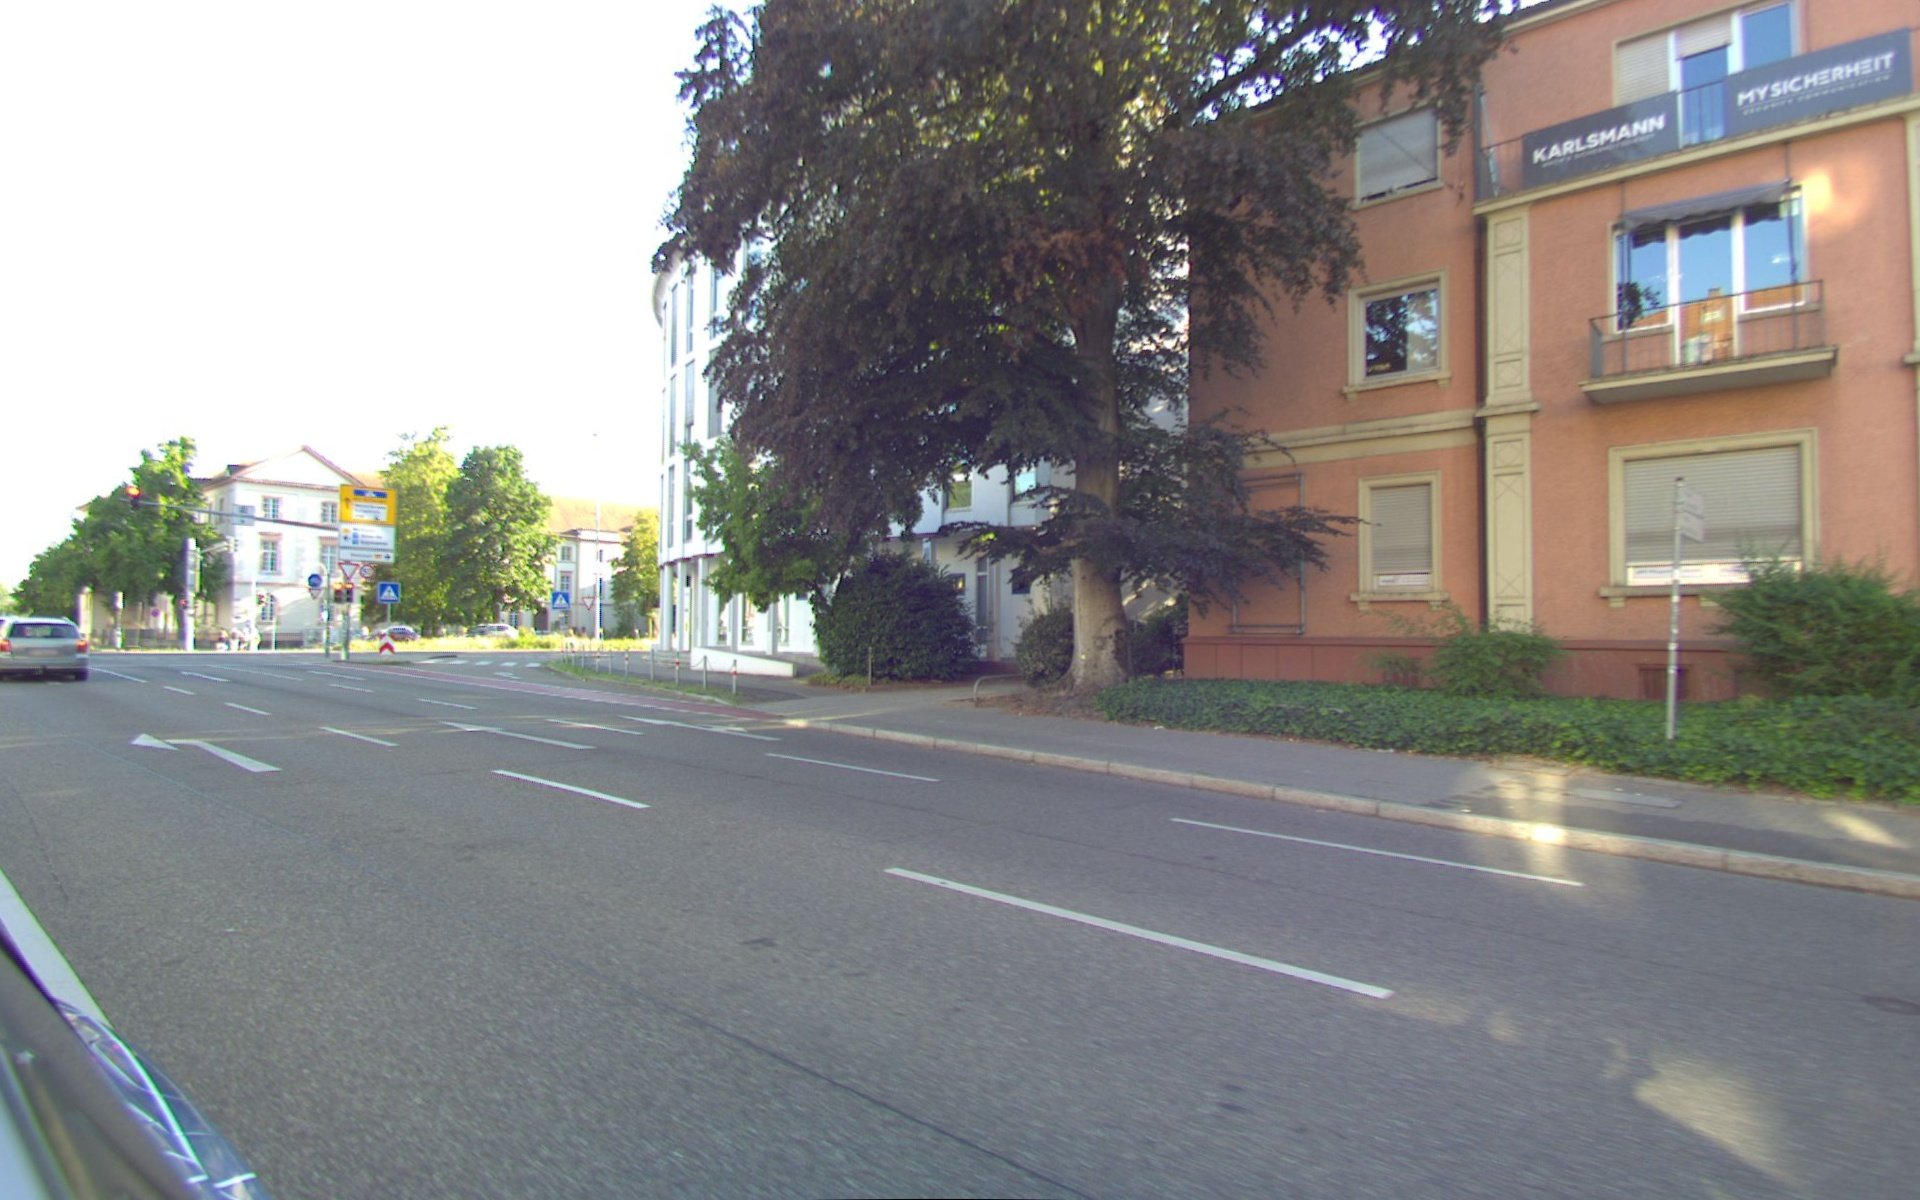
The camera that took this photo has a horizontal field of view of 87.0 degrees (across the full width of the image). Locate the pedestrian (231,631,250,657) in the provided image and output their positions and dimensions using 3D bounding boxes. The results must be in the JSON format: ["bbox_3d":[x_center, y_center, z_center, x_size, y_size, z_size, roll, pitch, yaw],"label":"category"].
[{"bbox_3d":[-45.665,2.792,64.202,0.880,1.663,0.671,-1,-3,32],"label":"pedestrian"}]

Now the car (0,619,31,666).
[{"bbox_3d":[-31.875,1.393,33.054,3.900,1.472,1.808,-2,-3,41],"label":"car"}]

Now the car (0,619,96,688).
[{"bbox_3d":[-22.410,1.275,24.486,4.605,1.526,1.807,-2,-3,44],"label":"car"}]

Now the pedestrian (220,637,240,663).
[{"bbox_3d":[-48.445,3.299,67.146,1.081,1.721,0.671,-1,-3,32],"label":"pedestrian"}]

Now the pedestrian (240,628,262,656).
[{"bbox_3d":[-47.740,2.837,68.140,1.166,1.863,0.812,-1,-3,32],"label":"pedestrian"}]

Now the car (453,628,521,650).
[{"bbox_3d":[-31.795,2.610,68.072,1.996,1.457,3.602,-2,-3,36],"label":"car"}]

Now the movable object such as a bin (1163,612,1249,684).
[{"bbox_3d":[5.916,1.145,24.341,1.457,1.664,1.485,-2,-3,44],"label":"movable object such as a bin"}]

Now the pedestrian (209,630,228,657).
[{"bbox_3d":[-46.421,2.708,63.352,0.887,1.663,0.614,-1,-3,32],"label":"pedestrian"}]

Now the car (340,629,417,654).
[{"bbox_3d":[-35.646,2.555,62.134,1.996,1.457,3.602,-2,-3,36],"label":"car"}]
